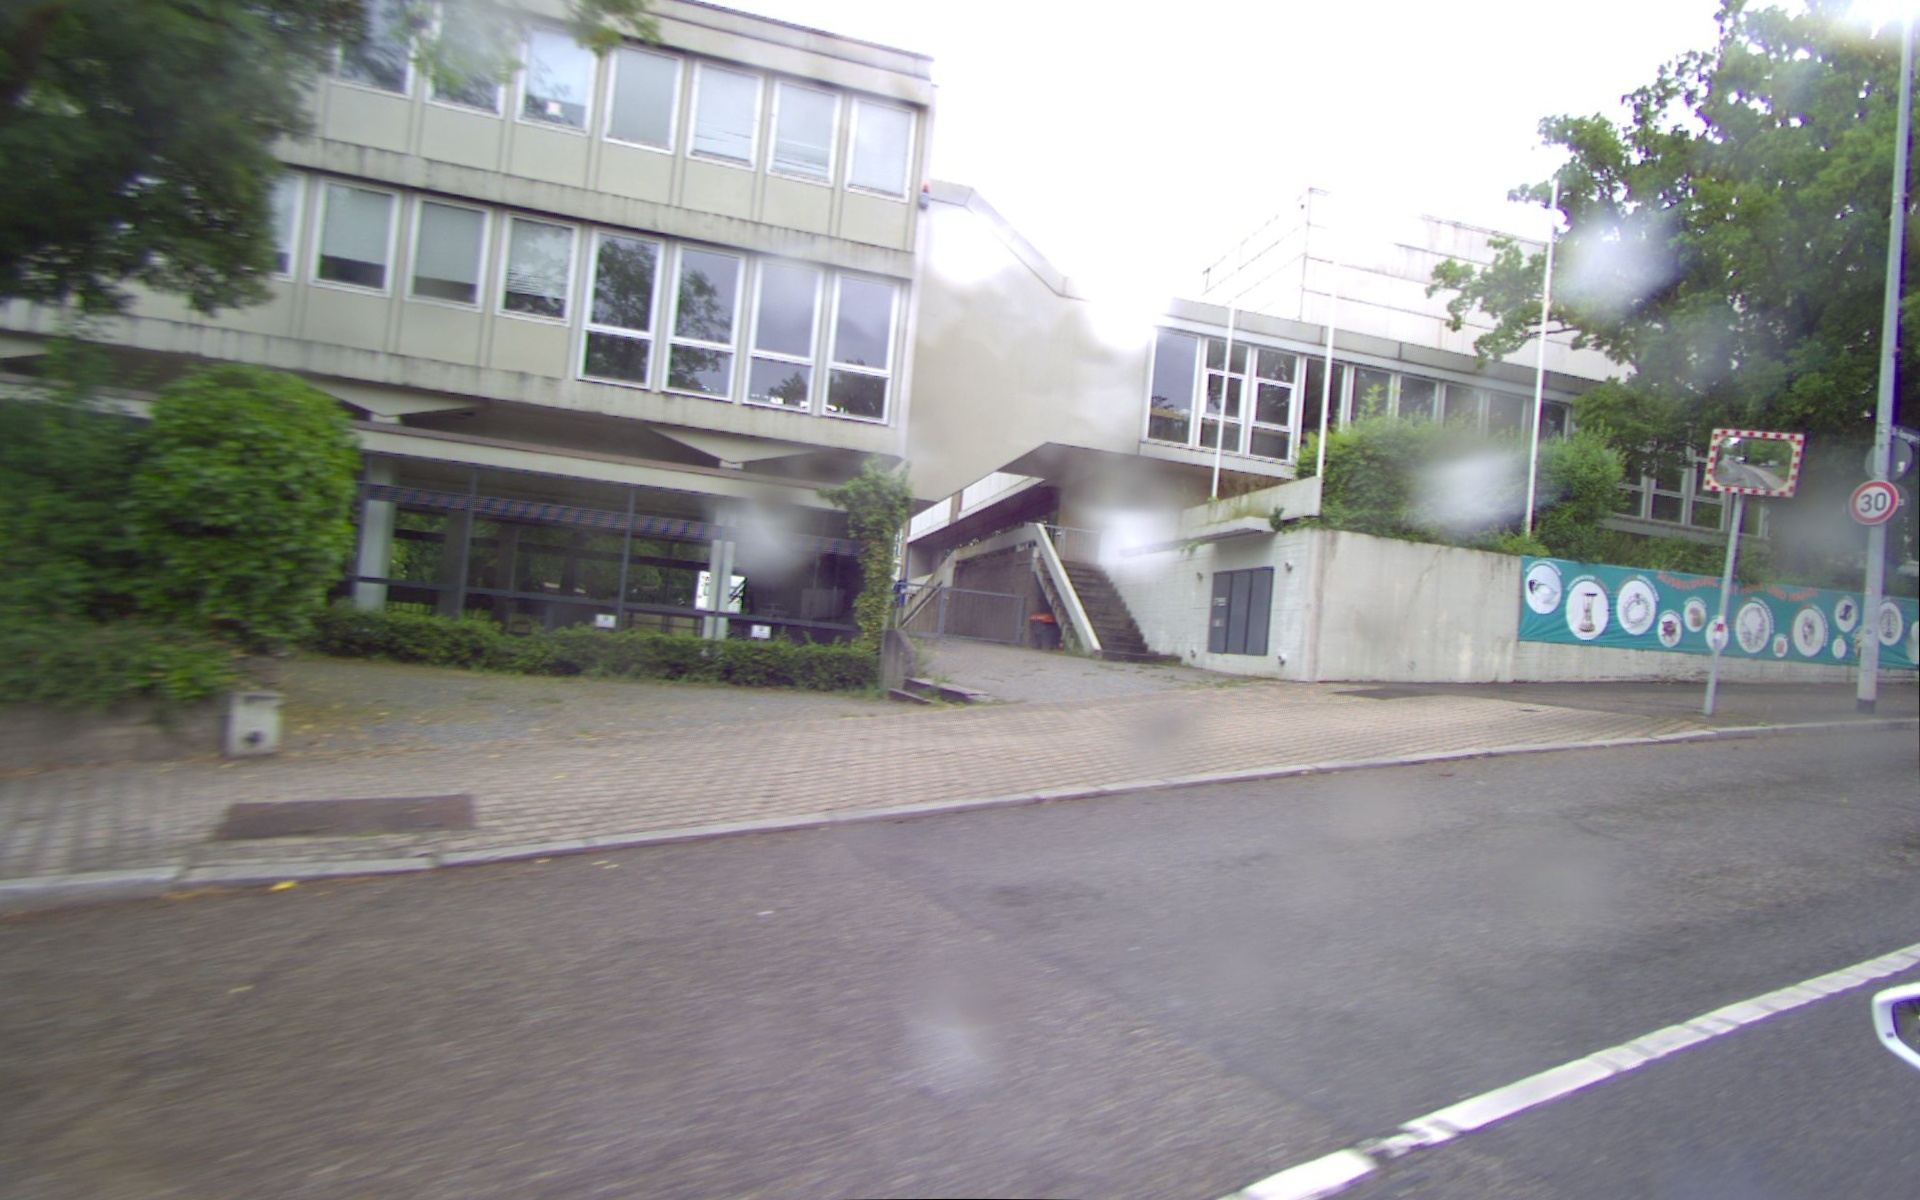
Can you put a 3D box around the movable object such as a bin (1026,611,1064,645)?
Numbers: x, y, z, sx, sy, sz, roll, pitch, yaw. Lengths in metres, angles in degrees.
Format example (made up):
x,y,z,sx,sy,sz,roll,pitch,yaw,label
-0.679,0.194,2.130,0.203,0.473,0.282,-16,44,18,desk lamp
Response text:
x,y,z,sx,sy,sz,roll,pitch,yaw,label
2.053,0.676,24.326,0.593,0.804,1.032,0,-1,-16,movable object such as a bin
